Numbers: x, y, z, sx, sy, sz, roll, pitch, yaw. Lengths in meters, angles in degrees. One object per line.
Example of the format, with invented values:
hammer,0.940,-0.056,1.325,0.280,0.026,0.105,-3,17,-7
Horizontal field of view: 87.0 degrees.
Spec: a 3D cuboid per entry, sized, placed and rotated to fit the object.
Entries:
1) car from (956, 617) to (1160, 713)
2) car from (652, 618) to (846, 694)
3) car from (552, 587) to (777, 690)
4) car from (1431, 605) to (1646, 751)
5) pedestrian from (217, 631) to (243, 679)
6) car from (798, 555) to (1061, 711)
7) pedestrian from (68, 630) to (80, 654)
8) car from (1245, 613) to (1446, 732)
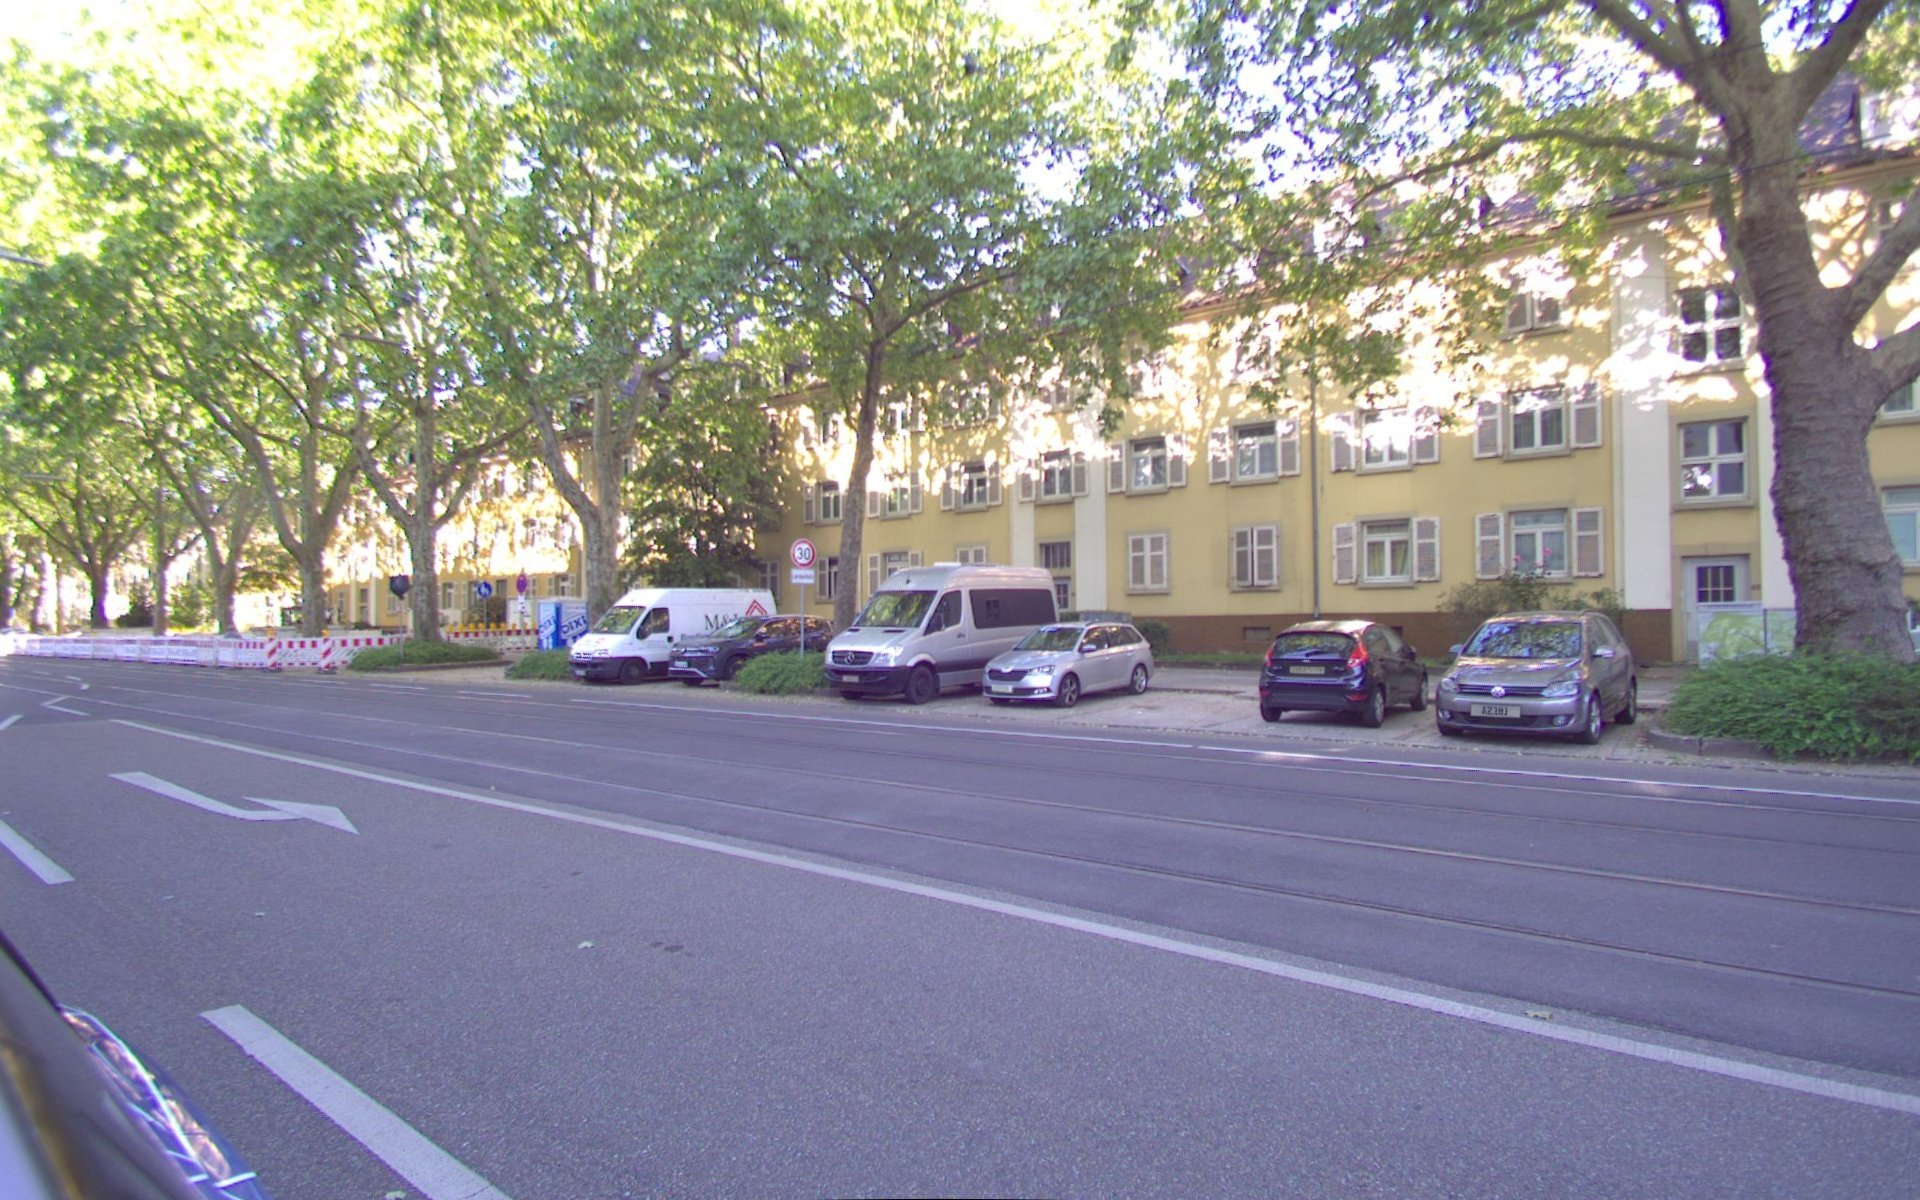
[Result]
car,1.911,1.123,18.841,1.773,1.509,4.031,-2,-1,41
car,-4.980,1.278,24.453,1.772,1.664,4.570,-2,-2,38
car,-7.562,0.966,26.379,2.222,2.394,5.336,-2,-2,40
car,7.742,0.900,13.372,1.672,1.592,3.928,-2,-1,41
pedestrian,-27.569,2.067,38.218,0.581,1.759,0.645,-1,0,32
car,-0.428,0.610,20.452,2.221,2.702,5.596,-2,-1,38
pedestrian,-71.733,3.409,81.929,0.722,1.900,0.666,-1,0,-42
car,5.965,1.002,15.424,1.671,1.509,3.756,-2,-1,41
